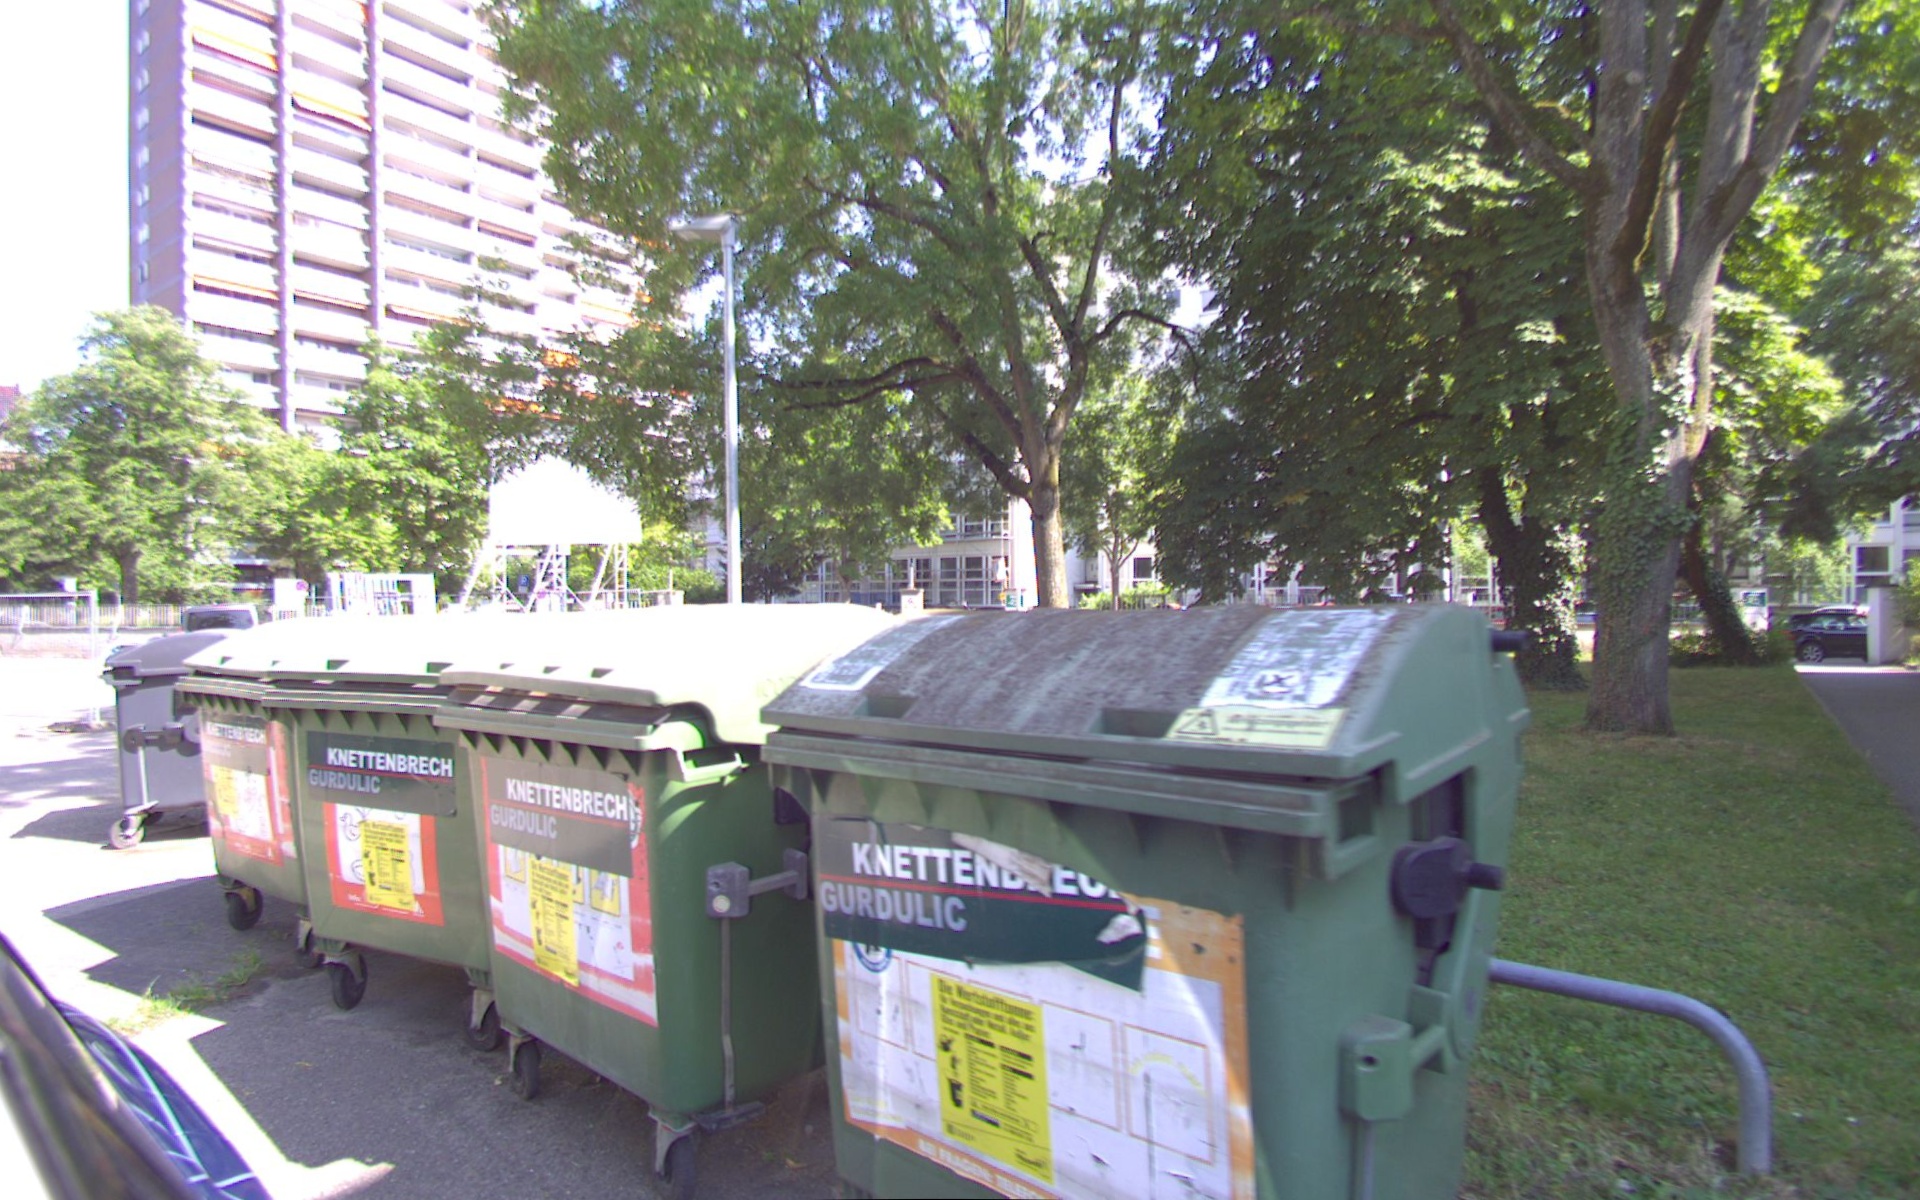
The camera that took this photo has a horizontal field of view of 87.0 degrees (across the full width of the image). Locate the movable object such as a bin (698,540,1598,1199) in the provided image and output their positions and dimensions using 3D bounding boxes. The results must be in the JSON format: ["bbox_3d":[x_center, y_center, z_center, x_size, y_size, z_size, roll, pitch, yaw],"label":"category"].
[{"bbox_3d":[0.405,0.661,2.008,1.348,1.442,1.232,-1,-1,38],"label":"movable object such as a bin"}]

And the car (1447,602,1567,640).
[{"bbox_3d":[23.697,0.933,43.977,1.753,1.550,4.230,1,-2,-35],"label":"car"}]

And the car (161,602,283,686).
[{"bbox_3d":[-17.937,0.986,24.807,1.889,1.794,4.326,-2,1,-30],"label":"car"}]

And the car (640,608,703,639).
[{"bbox_3d":[-14.732,1.161,51.540,1.812,1.420,4.158,-2,2,-35],"label":"car"}]

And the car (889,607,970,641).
[{"bbox_3d":[-1.557,1.150,49.593,1.778,1.577,4.400,0,-1,-36],"label":"car"}]

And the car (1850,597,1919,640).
[{"bbox_3d":[35.133,0.657,36.715,3.955,1.493,1.640,-1,0,10],"label":"car"}]

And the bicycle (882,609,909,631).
[{"bbox_3d":[-3.575,1.126,56.574,0.487,1.209,1.996,-1,-1,29],"label":"bicycle"}]

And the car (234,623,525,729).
[{"bbox_3d":[-8.851,1.089,15.897,1.645,1.423,4.159,-1,-1,12],"label":"car"}]

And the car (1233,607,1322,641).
[{"bbox_3d":[14.321,1.055,45.849,1.680,1.474,3.862,0,-1,-24],"label":"car"}]

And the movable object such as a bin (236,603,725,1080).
[{"bbox_3d":[-1.787,0.739,3.905,1.217,1.442,1.237,-1,0,27],"label":"movable object such as a bin"}]

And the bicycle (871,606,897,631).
[{"bbox_3d":[-4.288,1.022,57.252,0.487,1.389,1.996,-1,-1,29],"label":"bicycle"}]

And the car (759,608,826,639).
[{"bbox_3d":[-8.364,1.134,50.342,1.627,1.463,4.009,0,-1,-37],"label":"car"}]

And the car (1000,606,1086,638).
[{"bbox_3d":[3.929,1.037,48.764,1.772,1.497,4.351,0,-1,-35],"label":"car"}]

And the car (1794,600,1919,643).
[{"bbox_3d":[36.935,0.846,41.374,1.798,1.674,4.012,0,-1,-31],"label":"car"}]

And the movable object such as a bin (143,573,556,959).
[{"bbox_3d":[-2.869,0.646,4.806,1.335,1.492,1.234,-1,-1,33],"label":"movable object such as a bin"}]

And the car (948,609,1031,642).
[{"bbox_3d":[1.371,1.216,48.763,1.772,1.487,4.194,0,-1,-38],"label":"car"}]

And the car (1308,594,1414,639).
[{"bbox_3d":[17.674,0.743,44.757,1.757,1.921,4.010,1,-2,-35],"label":"car"}]

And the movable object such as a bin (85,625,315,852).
[{"bbox_3d":[-5.437,0.900,7.360,1.227,1.407,1.408,0,0,-34],"label":"movable object such as a bin"}]

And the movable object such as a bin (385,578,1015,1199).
[{"bbox_3d":[-0.746,0.681,2.987,1.364,1.442,1.232,-1,-1,38],"label":"movable object such as a bin"}]

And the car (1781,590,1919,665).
[{"bbox_3d":[24.881,0.740,27.220,3.981,1.929,1.981,-1,-2,28],"label":"car"}]
